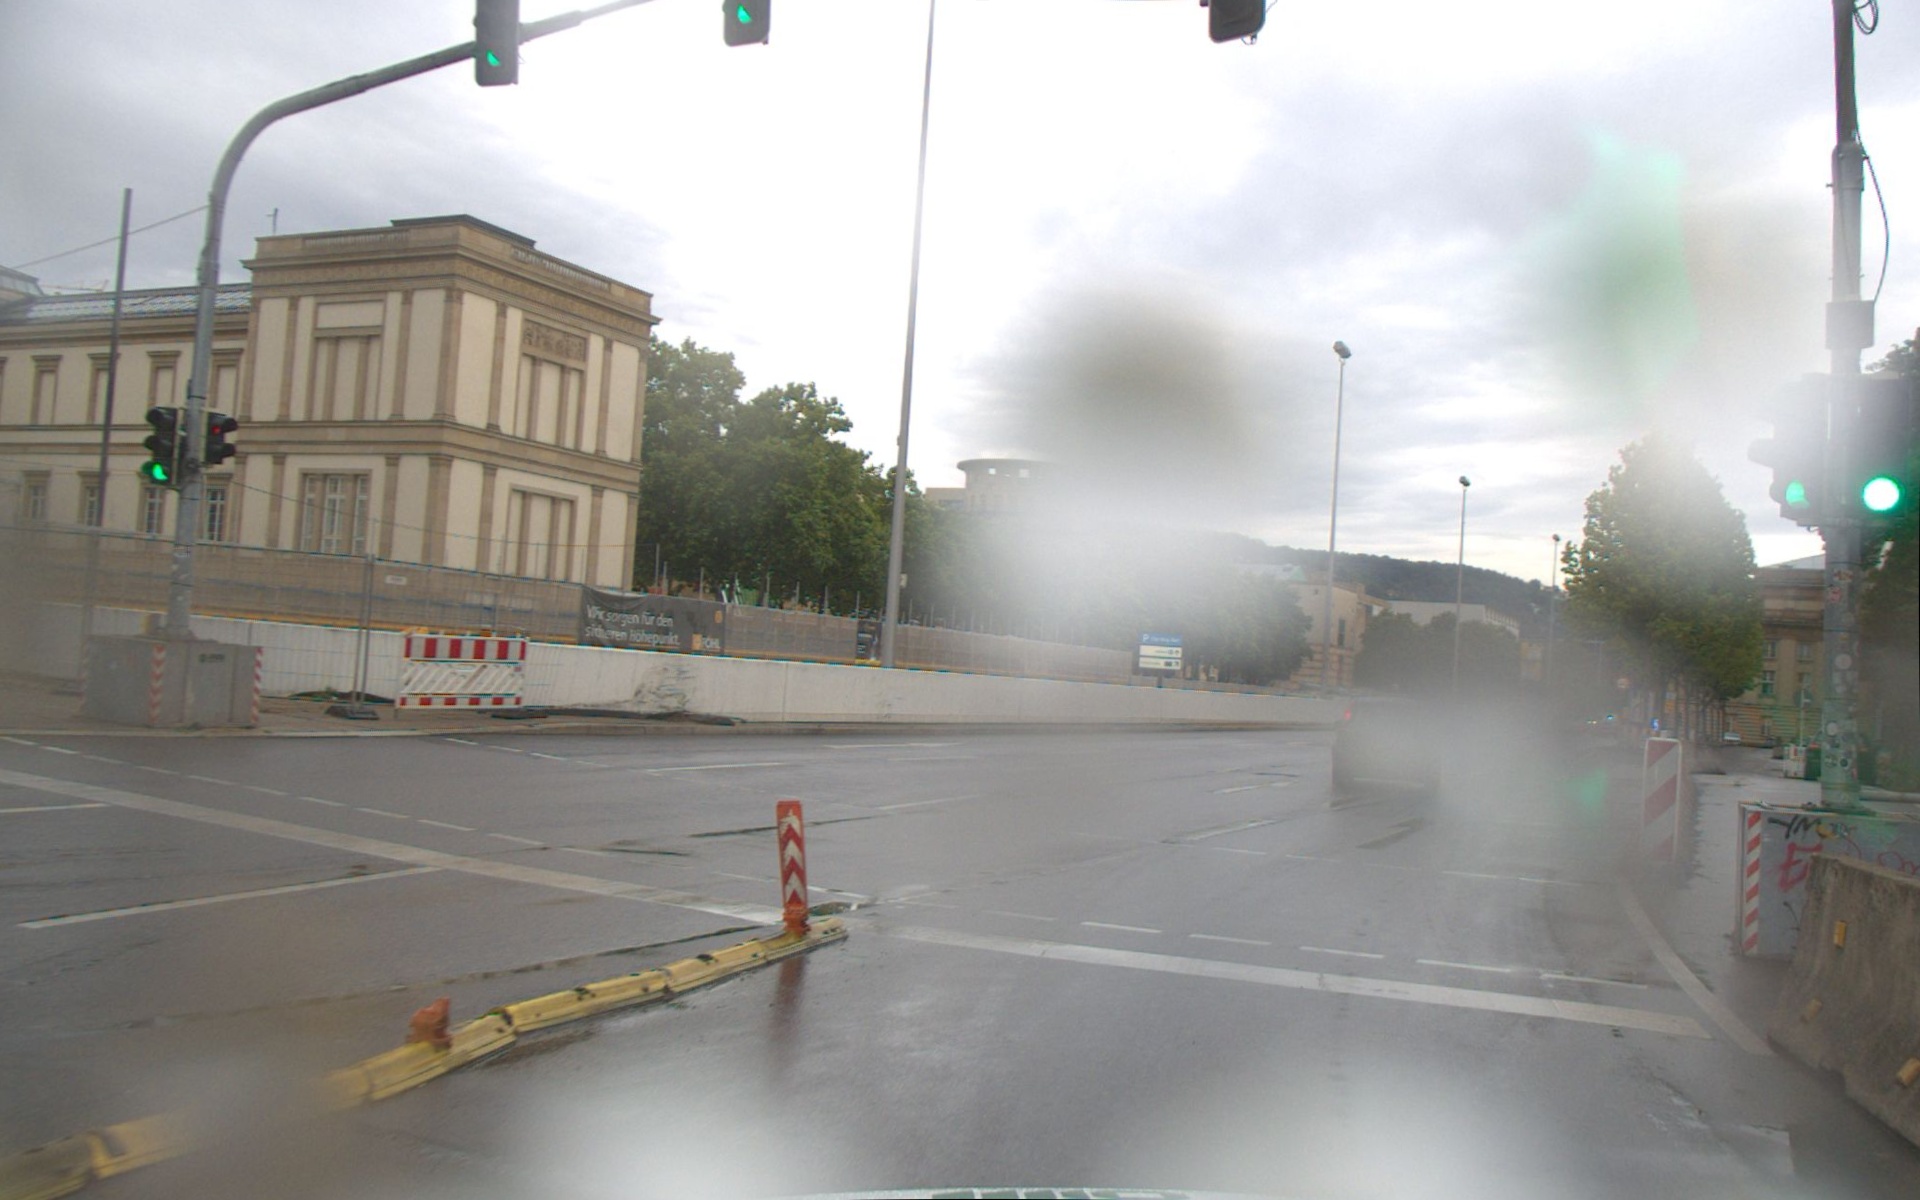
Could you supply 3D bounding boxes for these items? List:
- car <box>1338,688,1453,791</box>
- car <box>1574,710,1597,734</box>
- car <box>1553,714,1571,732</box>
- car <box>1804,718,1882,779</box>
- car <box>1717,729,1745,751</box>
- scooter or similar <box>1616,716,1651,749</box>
[{"bbox_3d":[7.103,2.246,27.163,1.634,1.452,3.760,3,-3,14],"label":"car"},{"bbox_3d":[61.316,11.945,162.116,1.953,2.048,3.999,5,-4,21],"label":"car"},{"bbox_3d":[51.345,10.500,141.013,1.357,1.411,3.066,2,-4,21],"label":"car"},{"bbox_3d":[25.482,4.254,47.657,1.771,1.579,4.316,-4,-5,30],"label":"car"},{"bbox_3d":[71.344,12.942,152.974,1.957,1.738,3.992,4,-2,30],"label":"car"},{"bbox_3d":[30.118,5.911,73.930,1.330,1.307,0.618,4,-4,27],"label":"scooter or similar"}]
